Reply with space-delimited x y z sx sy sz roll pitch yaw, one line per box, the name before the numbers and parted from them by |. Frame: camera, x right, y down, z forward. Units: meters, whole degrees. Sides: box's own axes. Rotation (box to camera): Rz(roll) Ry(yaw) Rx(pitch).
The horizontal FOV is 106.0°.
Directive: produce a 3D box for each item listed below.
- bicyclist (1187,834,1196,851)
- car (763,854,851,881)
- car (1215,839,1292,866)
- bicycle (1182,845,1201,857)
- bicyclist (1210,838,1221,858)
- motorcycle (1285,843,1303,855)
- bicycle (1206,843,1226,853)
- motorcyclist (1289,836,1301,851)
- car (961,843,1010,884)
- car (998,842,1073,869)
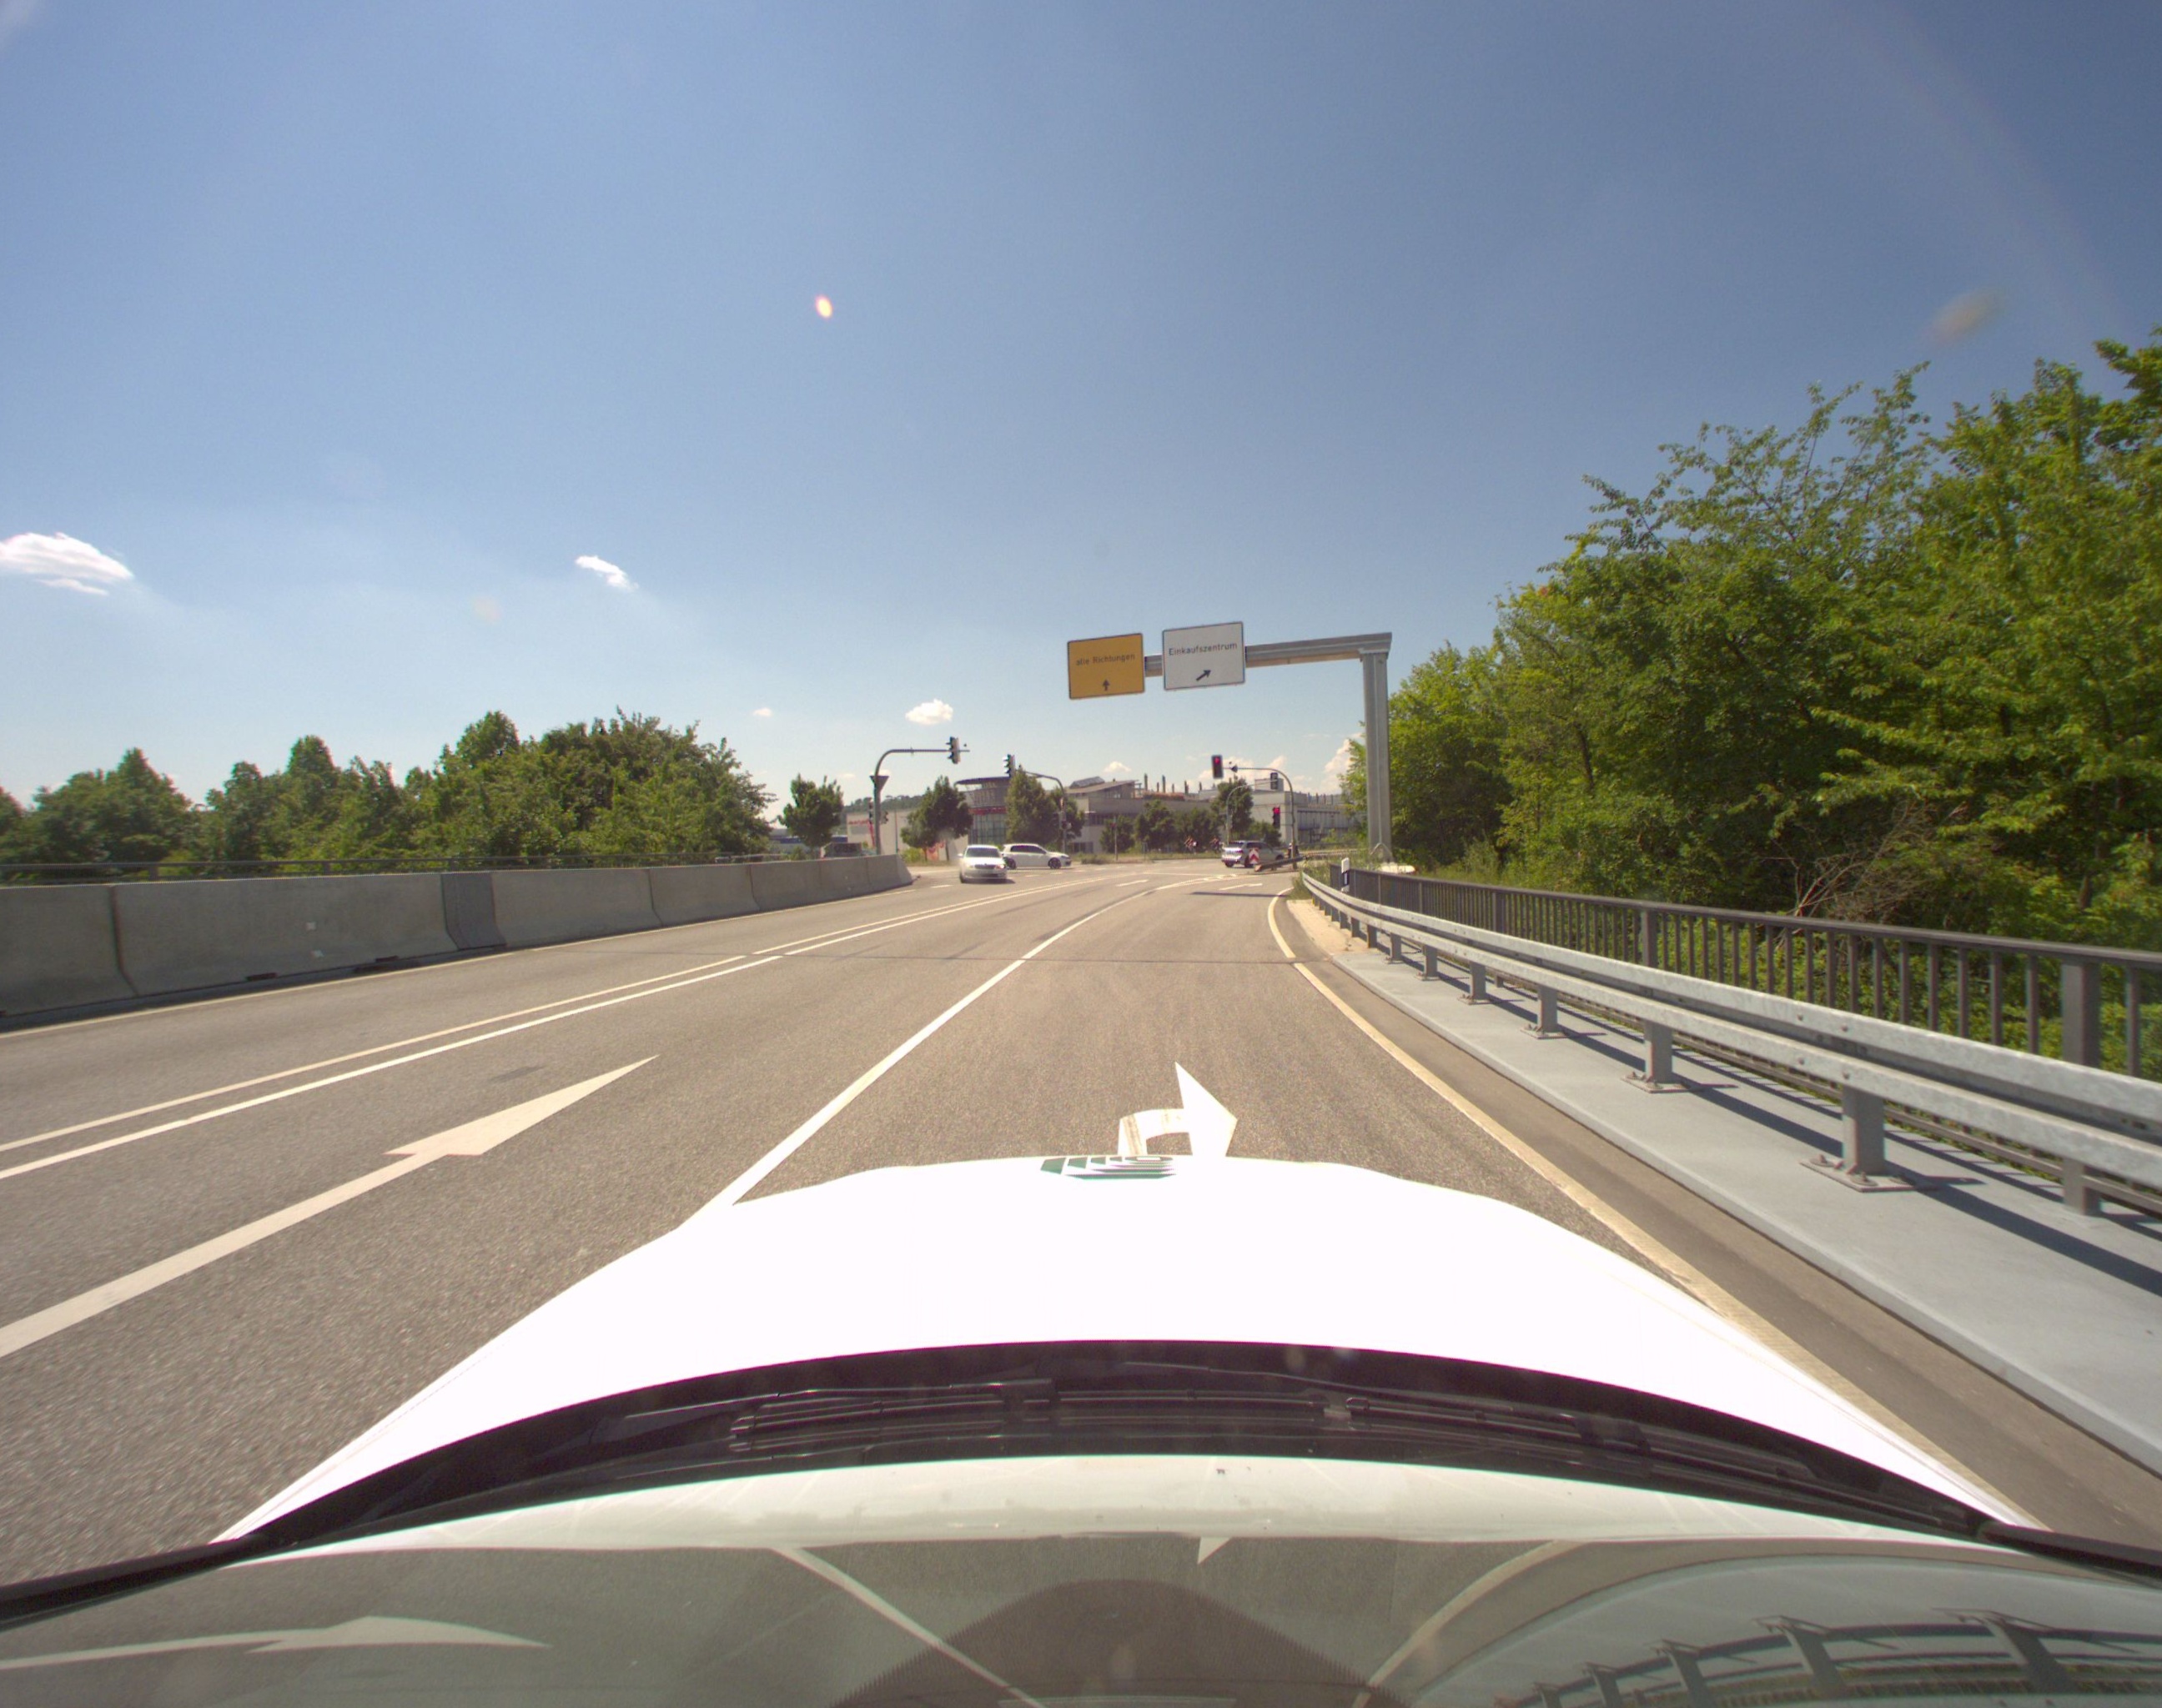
bicyclist | 9.503 -0.991 69.840 0.688 1.404 0.404 0 1 -38
car | -16.556 0.807 49.334 4.700 1.545 1.738 0 0 2
car | 10.548 -0.083 49.817 4.410 1.505 1.980 -2 0 -30
bicycle | 9.497 -0.277 69.854 1.841 1.024 0.410 -1 2 -39
bicyclist | 11.570 -0.539 70.042 0.525 1.717 0.735 2 2 44
motorcycle | 18.647 -0.446 71.127 0.557 1.080 2.299 -1 0 41
bicycle | 11.611 -0.549 70.093 2.139 0.852 0.528 -1 2 -45
motorcyclist | 18.727 -0.951 71.230 0.668 1.303 0.728 -2 -1 41
car | -3.922 0.335 33.016 1.787 1.495 4.538 -1 1 -9
car | -2.592 0.047 46.935 4.104 1.486 2.002 0 1 3
